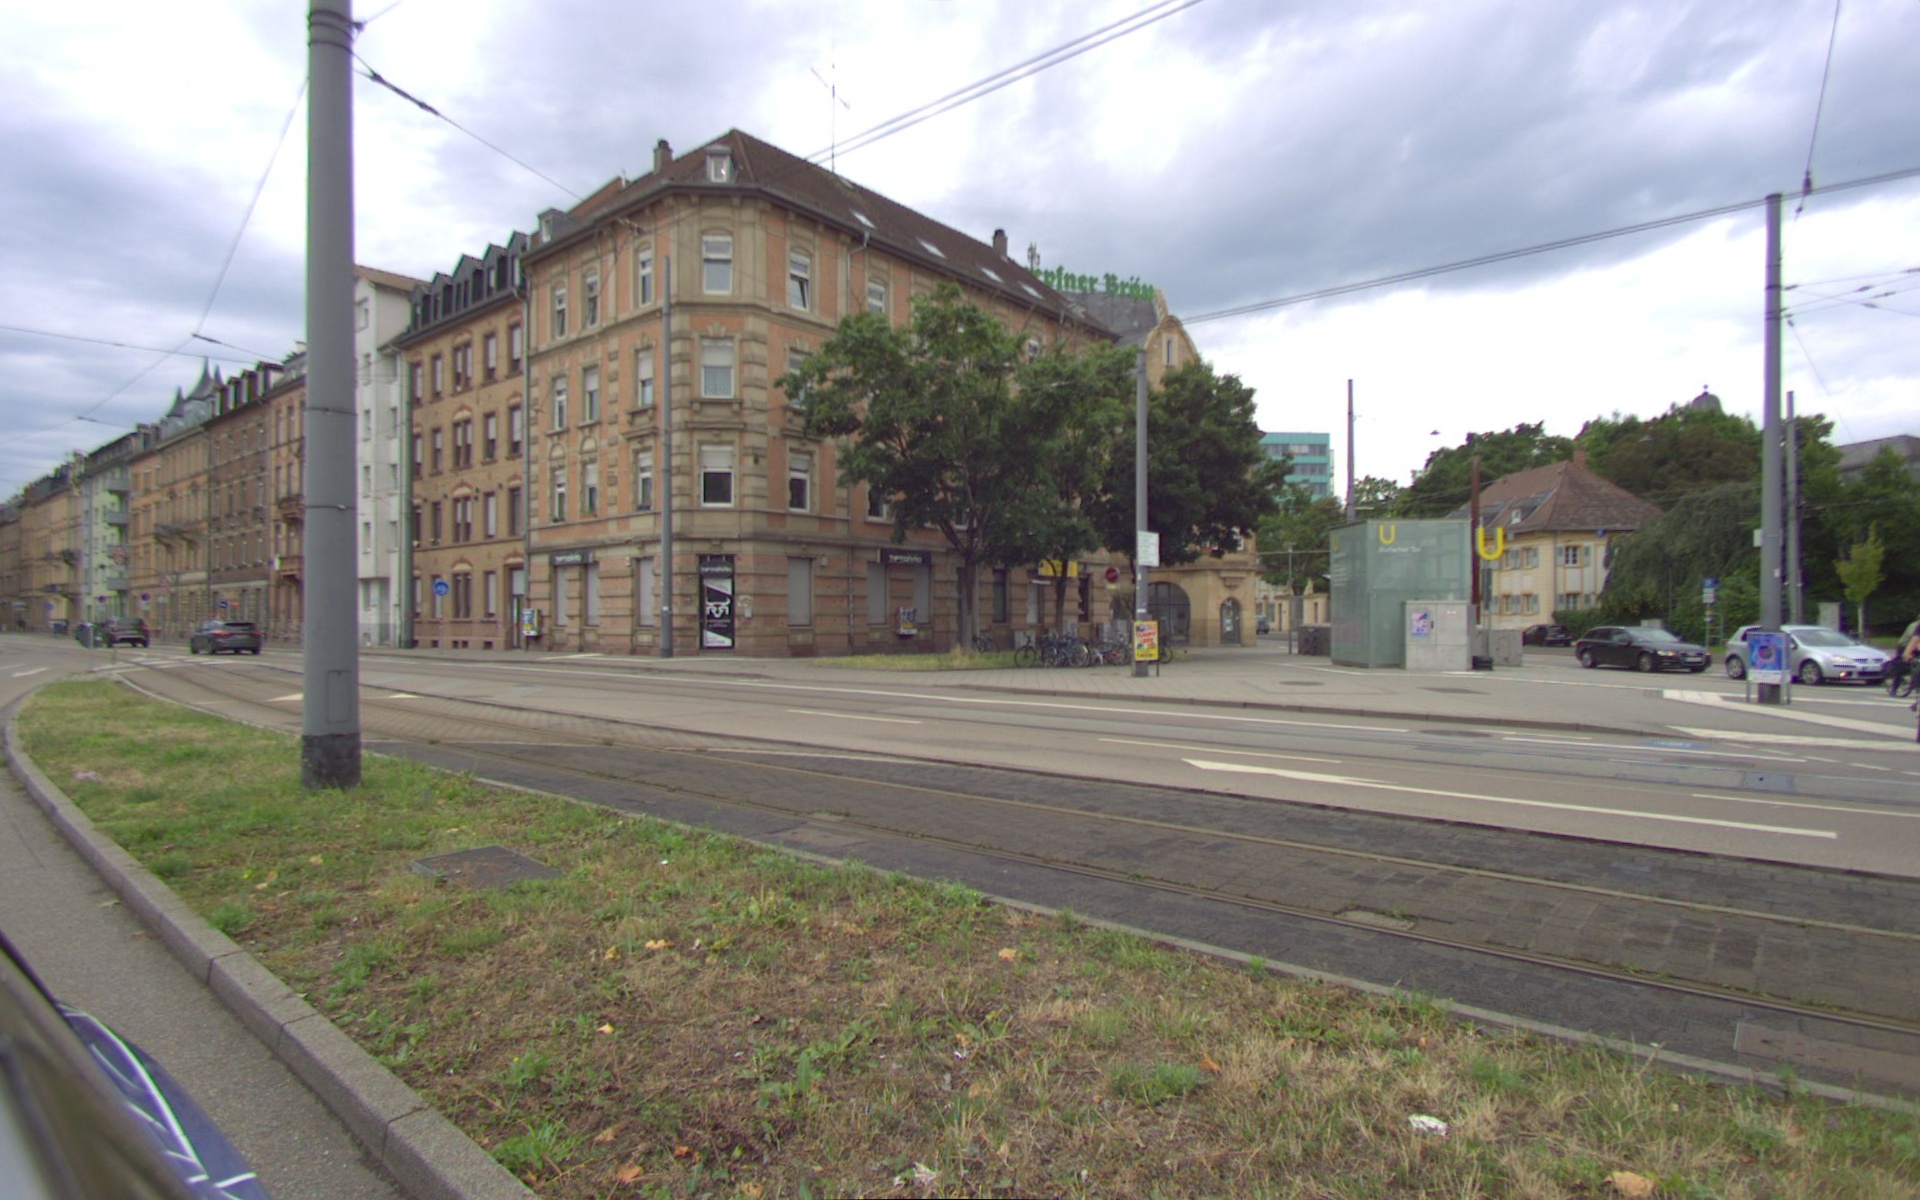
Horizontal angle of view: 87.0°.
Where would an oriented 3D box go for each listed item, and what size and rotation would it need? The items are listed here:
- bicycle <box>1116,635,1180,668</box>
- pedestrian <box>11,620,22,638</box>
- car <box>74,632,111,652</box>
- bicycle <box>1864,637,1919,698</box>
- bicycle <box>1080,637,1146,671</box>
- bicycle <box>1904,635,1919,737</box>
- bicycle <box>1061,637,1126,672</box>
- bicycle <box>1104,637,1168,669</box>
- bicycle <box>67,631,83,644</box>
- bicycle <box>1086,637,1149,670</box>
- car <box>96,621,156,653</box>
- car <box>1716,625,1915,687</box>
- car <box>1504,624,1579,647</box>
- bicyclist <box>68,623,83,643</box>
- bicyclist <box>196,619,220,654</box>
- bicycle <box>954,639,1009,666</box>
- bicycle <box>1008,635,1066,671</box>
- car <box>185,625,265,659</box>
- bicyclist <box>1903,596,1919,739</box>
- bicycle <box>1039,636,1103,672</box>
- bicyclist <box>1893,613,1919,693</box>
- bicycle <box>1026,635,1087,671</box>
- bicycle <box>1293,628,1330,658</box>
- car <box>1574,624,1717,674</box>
[{"bbox_3d":[6.358,1.728,34.290,0.678,1.047,2.224,0,-1,-39],"label":"bicycle"},{"bbox_3d":[-108.256,3.305,116.138,0.733,2.029,0.804,-1,-2,41],"label":"pedestrian"},{"bbox_3d":[-68.948,3.339,80.409,3.828,1.491,1.828,-1,-2,43],"label":"car"},{"bbox_3d":[19.959,1.382,20.760,0.845,1.217,2.197,0,-1,1],"label":"bicycle"},{"bbox_3d":[4.800,1.690,31.844,0.601,0.994,2.224,0,-1,-39],"label":"bicycle"},{"bbox_3d":[12.728,1.085,12.999,0.816,1.252,1.971,-3,-4,43],"label":"bicycle"},{"bbox_3d":[4.032,1.637,30.847,0.492,0.994,2.224,0,-1,-39],"label":"bicycle"},{"bbox_3d":[5.758,1.729,33.166,0.576,0.994,2.224,0,-1,-39],"label":"bicycle"},{"bbox_3d":[-66.885,2.832,76.475,1.716,0.922,0.600,-1,-1,37],"label":"bicycle"},{"bbox_3d":[5.033,1.688,32.503,0.492,0.994,2.224,0,-1,-39],"label":"bicycle"},{"bbox_3d":[-45.924,2.000,55.704,4.225,1.652,1.780,-1,-1,39],"label":"car"},{"bbox_3d":[21.897,1.384,26.140,1.739,1.465,4.156,-1,-1,4],"label":"car"},{"bbox_3d":[35.613,2.151,62.093,1.904,1.298,4.006,0,-1,-7],"label":"car"},{"bbox_3d":[-66.770,2.511,76.411,0.941,1.506,0.655,-1,-1,37],"label":"bicyclist"},{"bbox_3d":[-41.520,1.990,55.864,1.048,1.906,0.821,-2,-3,39],"label":"bicyclist"},{"bbox_3d":[0.810,1.970,38.008,1.982,0.921,0.655,-4,-5,31],"label":"bicycle"},{"bbox_3d":[2.247,1.543,29.762,0.492,0.994,1.872,1,-2,-41],"label":"bicycle"},{"bbox_3d":[-31.430,1.764,43.234,4.387,1.406,1.676,-1,-2,39],"label":"car"},{"bbox_3d":[12.778,0.855,13.058,0.816,1.812,1.015,-3,-3,43],"label":"bicyclist"},{"bbox_3d":[3.315,1.603,30.515,0.472,1.014,2.224,0,-1,-39],"label":"bicycle"},{"bbox_3d":[19.963,1.083,20.721,0.843,1.635,0.917,0,-2,1],"label":"bicyclist"},{"bbox_3d":[2.862,1.561,30.189,0.513,0.994,2.041,0,-1,-39],"label":"bicycle"},{"bbox_3d":[13.932,1.702,40.133,0.730,1.123,2.361,-1,-1,3],"label":"bicycle"},{"bbox_3d":[21.796,1.520,32.386,1.673,1.460,4.144,-1,-1,-1],"label":"car"}]
